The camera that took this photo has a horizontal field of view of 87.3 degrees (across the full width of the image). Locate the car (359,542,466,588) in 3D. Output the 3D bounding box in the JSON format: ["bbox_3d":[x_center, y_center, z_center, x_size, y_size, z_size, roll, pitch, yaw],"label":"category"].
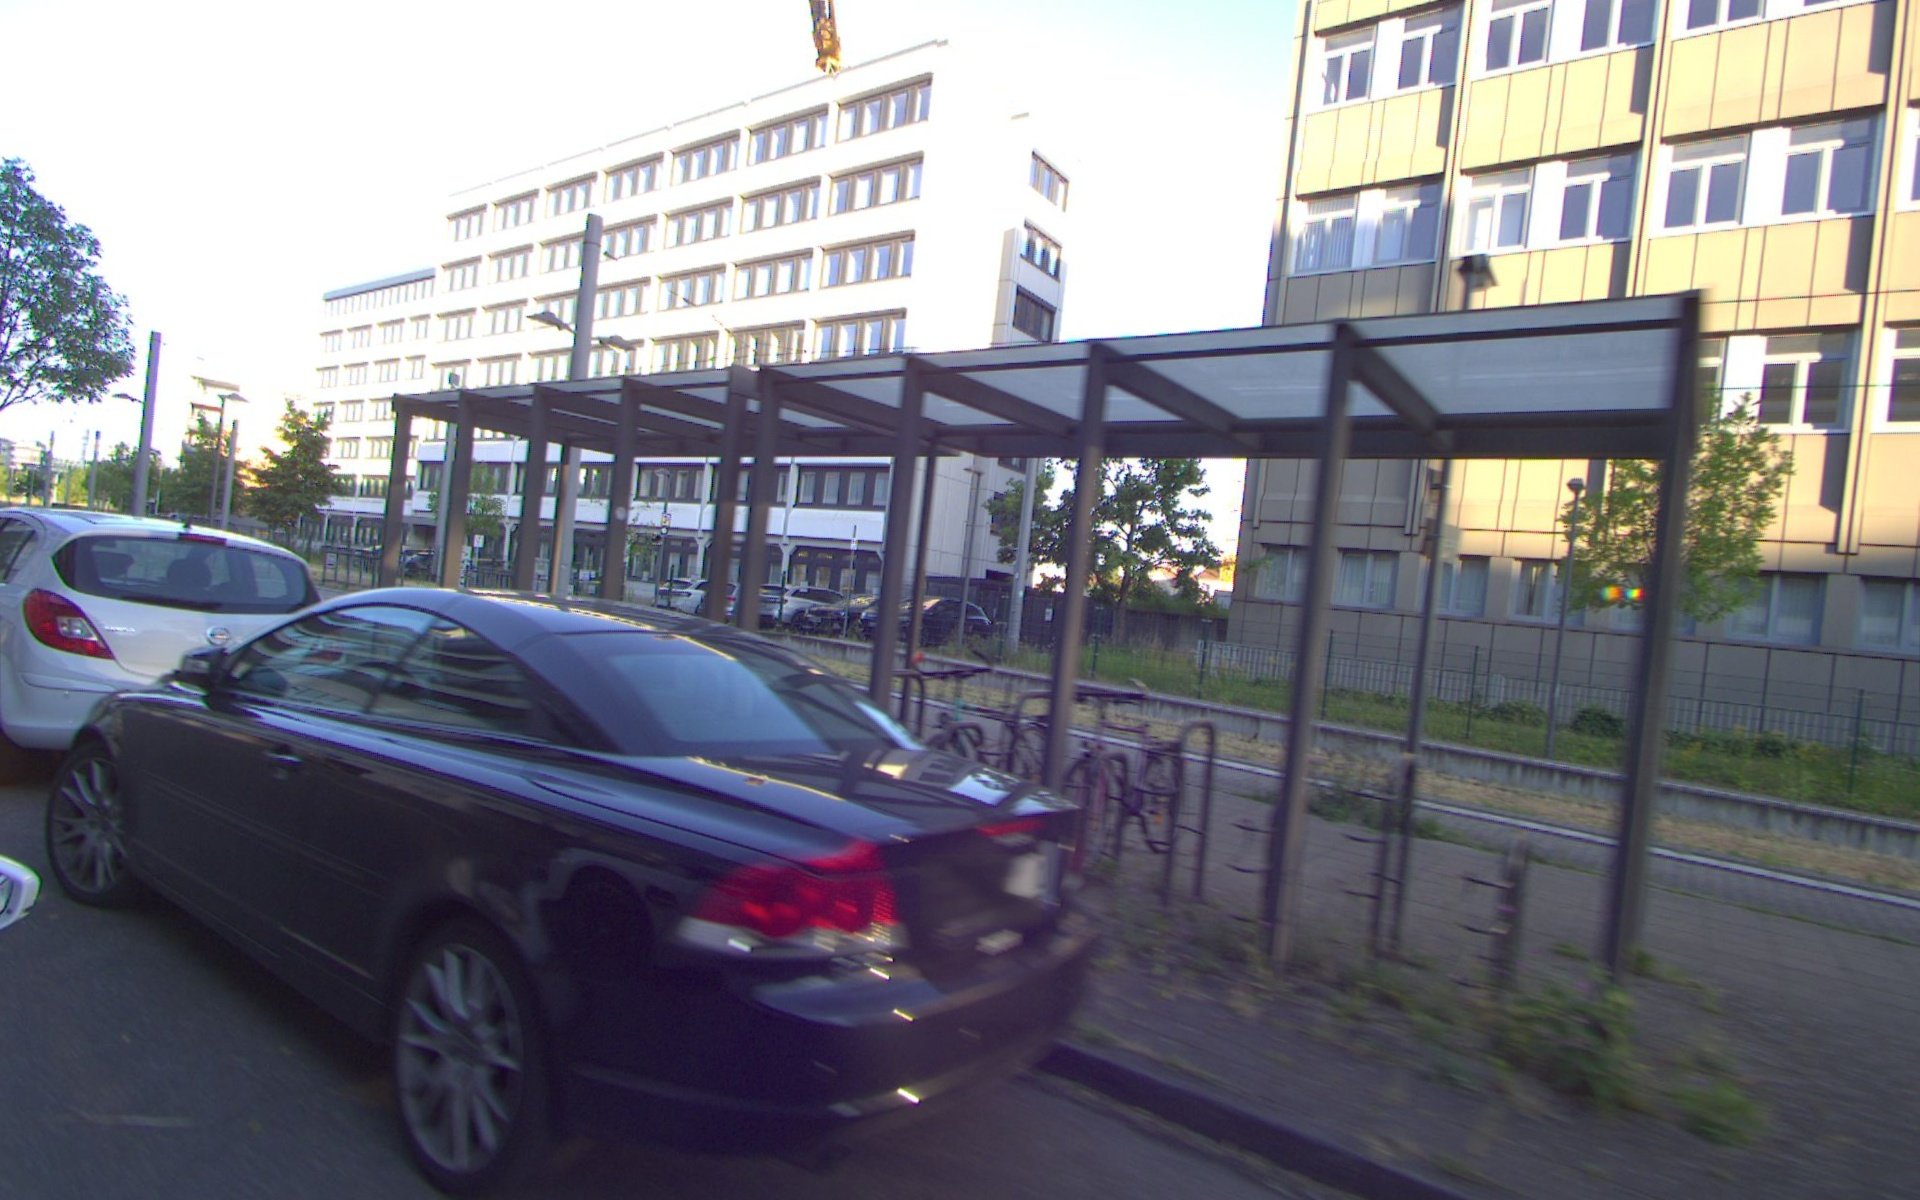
[{"bbox_3d":[-25.372,-1.595,46.753,1.567,1.413,3.993,7,-3,35],"label":"car"}]

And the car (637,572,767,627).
[{"bbox_3d":[-8.753,0.009,34.401,1.795,1.533,3.985,7,1,35],"label":"car"}]

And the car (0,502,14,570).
[{"bbox_3d":[-22.012,-1.532,20.449,1.705,1.483,4.000,6,-1,-1],"label":"car"}]

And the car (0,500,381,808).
[{"bbox_3d":[-5.802,0.145,6.653,4.120,1.470,1.677,6,-1,34],"label":"car"}]

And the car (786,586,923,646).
[{"bbox_3d":[-3.028,0.496,29.627,1.650,1.506,3.982,6,2,37],"label":"car"}]

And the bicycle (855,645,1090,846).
[{"bbox_3d":[0.148,0.880,6.499,0.480,1.079,1.805,6,0,36],"label":"bicycle"}]

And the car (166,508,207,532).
[{"bbox_3d":[-106.025,-10.907,137.904,4.124,2.616,1.689,7,0,-32],"label":"car"}]

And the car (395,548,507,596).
[{"bbox_3d":[-22.295,-1.213,44.204,1.567,1.413,3.993,7,-3,35],"label":"car"}]

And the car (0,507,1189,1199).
[{"bbox_3d":[-1.662,0.627,3.737,4.442,1.470,1.789,7,0,34],"label":"car"}]

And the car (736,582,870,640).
[{"bbox_3d":[-4.798,0.371,31.153,1.650,1.506,3.982,6,2,37],"label":"car"}]

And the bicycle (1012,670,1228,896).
[{"bbox_3d":[0.987,0.973,5.812,0.414,1.079,1.719,6,0,36],"label":"bicycle"}]

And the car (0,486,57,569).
[{"bbox_3d":[-19.308,-1.493,18.364,1.891,1.539,4.000,5,0,2],"label":"car"}]

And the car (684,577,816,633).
[{"bbox_3d":[-6.725,0.188,32.517,1.650,1.506,3.982,6,2,37],"label":"car"}]

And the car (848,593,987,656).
[{"bbox_3d":[-1.119,0.716,28.241,1.650,1.506,3.982,6,2,37],"label":"car"}]
